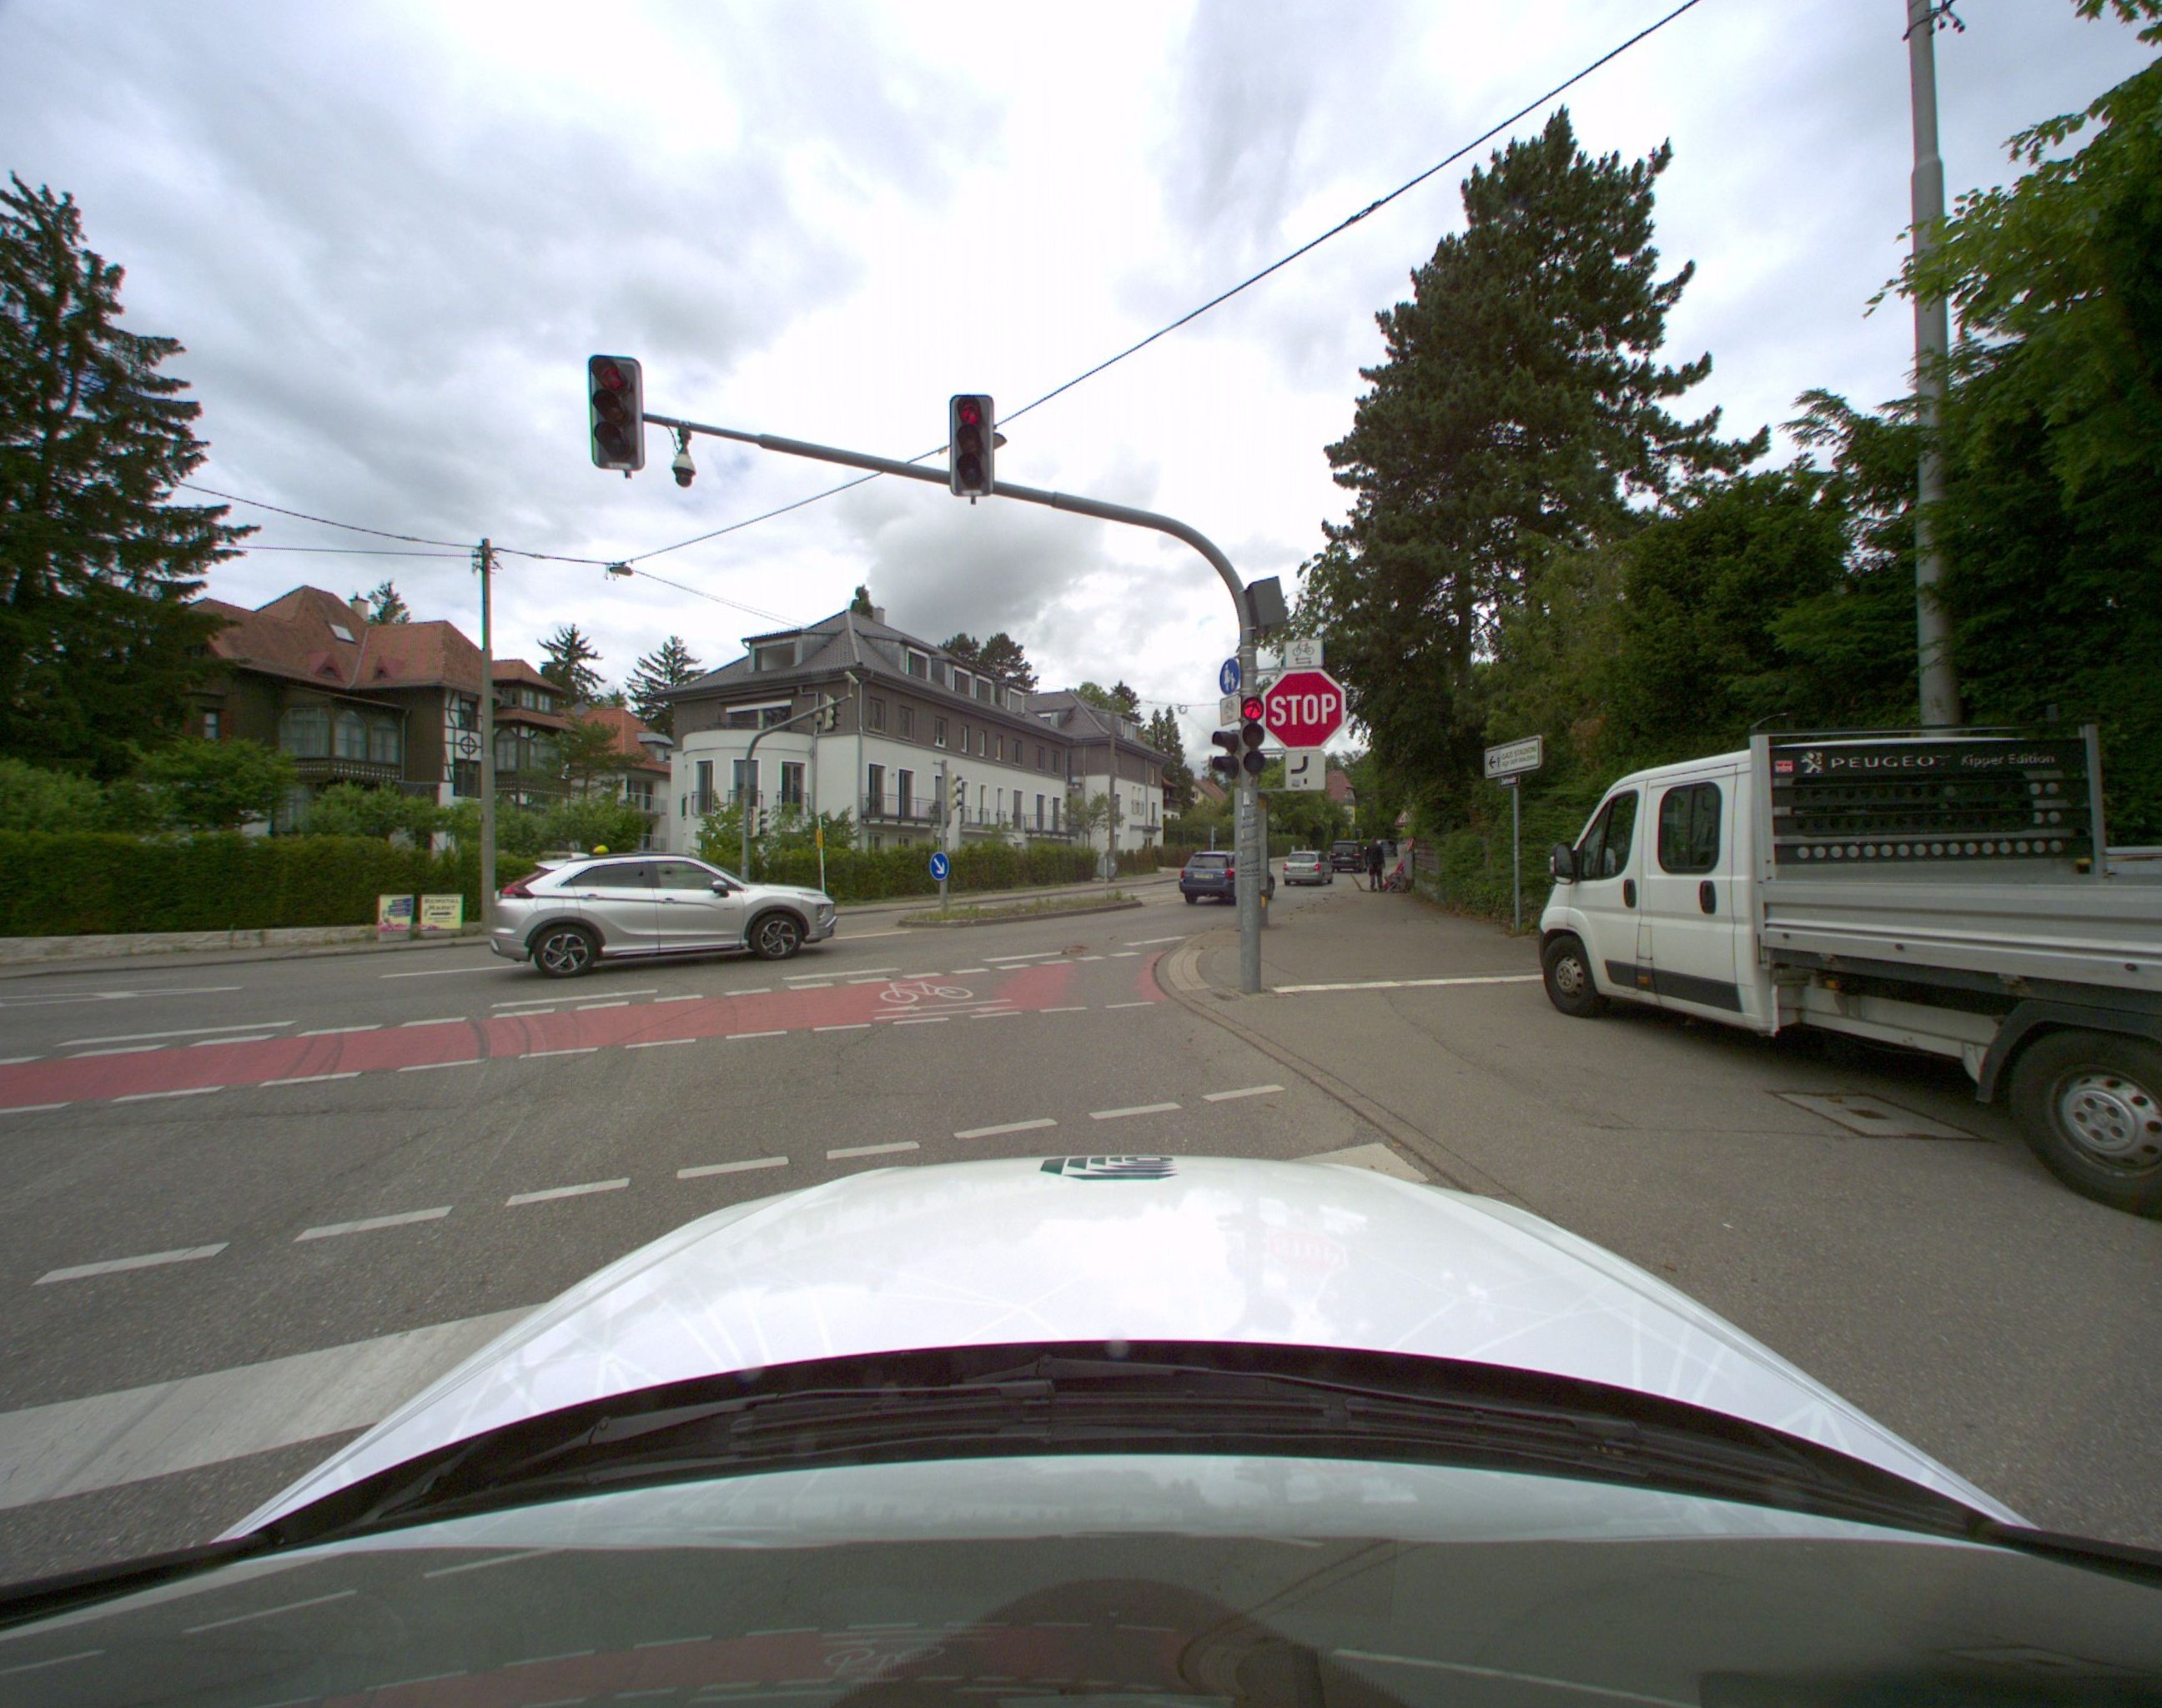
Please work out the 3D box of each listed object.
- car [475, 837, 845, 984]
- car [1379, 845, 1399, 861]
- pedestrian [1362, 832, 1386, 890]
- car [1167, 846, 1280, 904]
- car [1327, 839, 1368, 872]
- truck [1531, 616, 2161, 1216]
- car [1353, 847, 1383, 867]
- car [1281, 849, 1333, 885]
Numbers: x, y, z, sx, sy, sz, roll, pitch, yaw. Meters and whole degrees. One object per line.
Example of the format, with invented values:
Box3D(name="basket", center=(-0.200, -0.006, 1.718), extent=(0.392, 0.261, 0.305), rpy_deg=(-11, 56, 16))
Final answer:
Box3D(name="car", center=(-5.998, 0.703, 12.055), extent=(4.499, 1.753, 1.796), rpy_deg=(-2, 0, -28))
Box3D(name="car", center=(36.511, -0.185, 96.573), extent=(1.922, 1.825, 4.101), rpy_deg=(1, 1, 24))
Box3D(name="pedestrian", center=(9.786, 0.230, 27.217), extent=(0.594, 1.907, 0.559), rpy_deg=(0, 0, 2))
Box3D(name="car", center=(4.359, 0.561, 24.309), extent=(1.782, 1.527, 4.772), rpy_deg=(-2, 0, 29))
Box3D(name="car", center=(16.497, 0.041, 50.277), extent=(1.902, 1.894, 4.935), rpy_deg=(1, 1, 23))
Box3D(name="truck", center=(5.273, 0.232, 4.958), extent=(2.198, 2.243, 5.729), rpy_deg=(0, 0, 4))
Box3D(name="car", center=(22.637, 0.191, 64.108), extent=(1.824, 1.459, 4.102), rpy_deg=(1, 1, 25))
Box3D(name="car", center=(9.890, 0.518, 35.460), extent=(1.679, 1.430, 3.769), rpy_deg=(-2, 0, 22))
